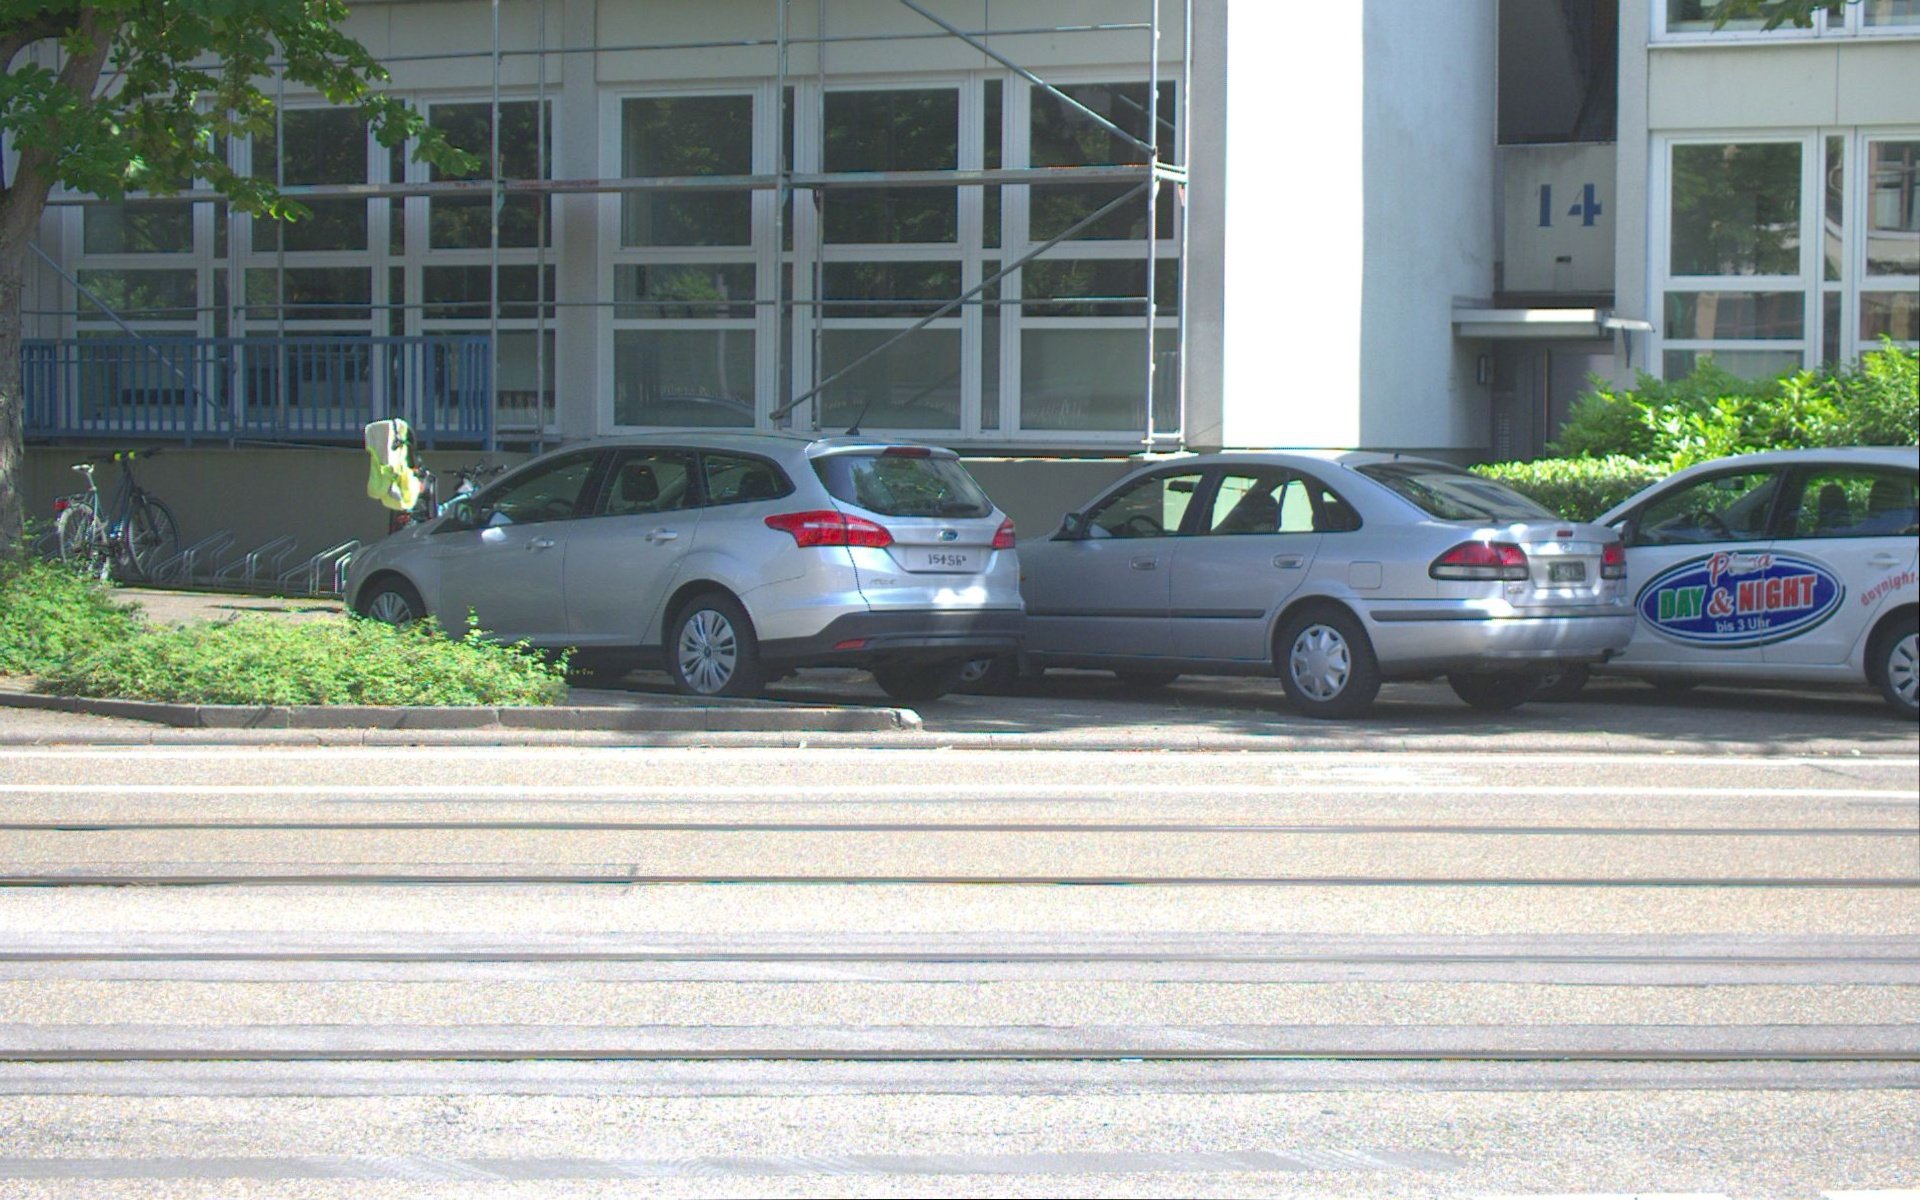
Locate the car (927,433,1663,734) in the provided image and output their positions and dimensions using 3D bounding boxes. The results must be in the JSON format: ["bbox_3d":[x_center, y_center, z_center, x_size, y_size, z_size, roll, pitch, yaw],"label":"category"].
[{"bbox_3d":[1.793,-0.169,19.287,3.943,1.481,1.609,3,4,44],"label":"car"}]

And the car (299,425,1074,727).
[{"bbox_3d":[-1.638,-0.220,19.387,4.432,1.481,1.780,3,4,42],"label":"car"}]

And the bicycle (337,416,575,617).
[{"bbox_3d":[-3.766,-0.650,25.865,0.662,1.448,2.087,2,3,28],"label":"bicycle"}]

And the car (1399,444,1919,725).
[{"bbox_3d":[4.596,-0.142,19.643,3.942,1.481,1.609,2,3,43],"label":"car"}]

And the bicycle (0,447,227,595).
[{"bbox_3d":[-6.540,-0.637,26.665,0.741,1.082,2.202,1,3,15],"label":"bicycle"}]
